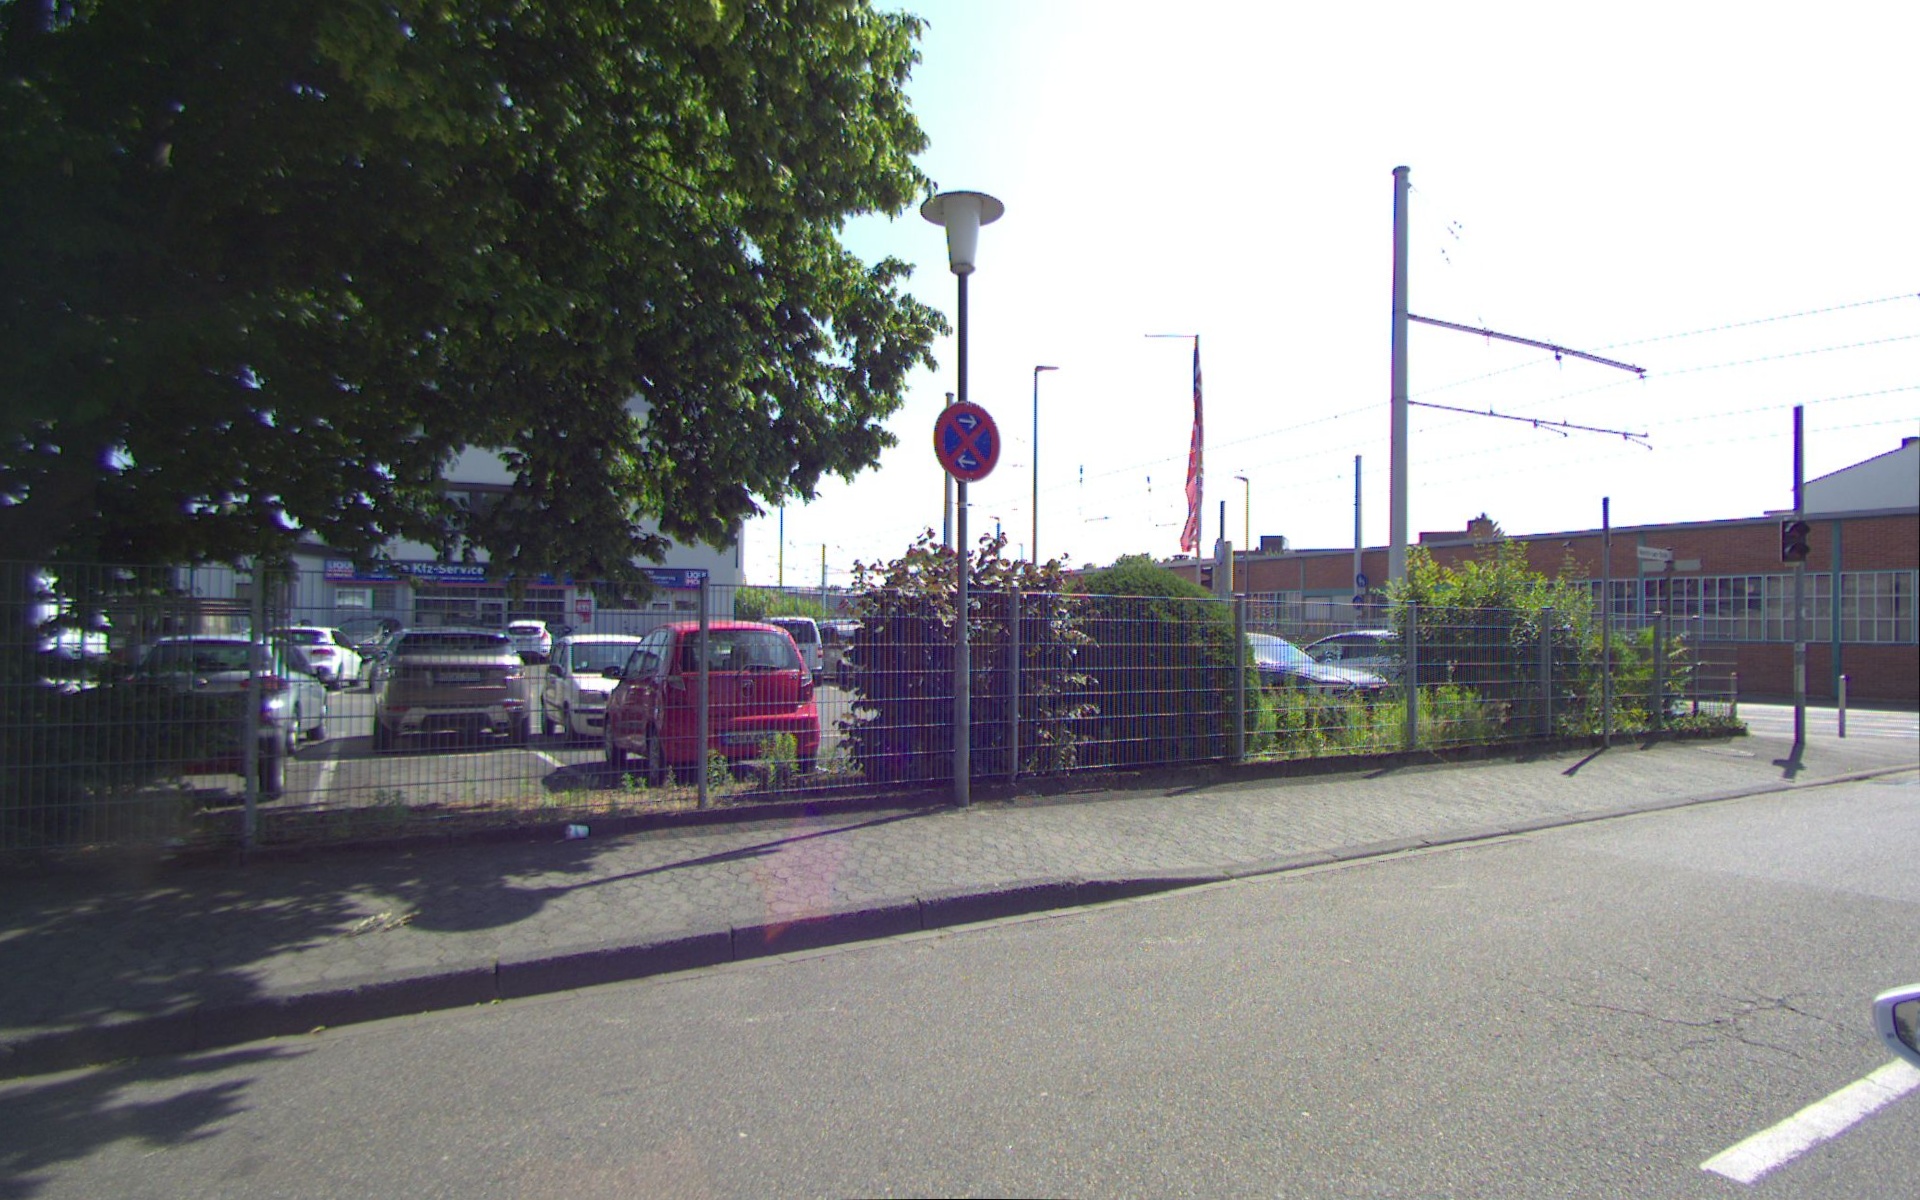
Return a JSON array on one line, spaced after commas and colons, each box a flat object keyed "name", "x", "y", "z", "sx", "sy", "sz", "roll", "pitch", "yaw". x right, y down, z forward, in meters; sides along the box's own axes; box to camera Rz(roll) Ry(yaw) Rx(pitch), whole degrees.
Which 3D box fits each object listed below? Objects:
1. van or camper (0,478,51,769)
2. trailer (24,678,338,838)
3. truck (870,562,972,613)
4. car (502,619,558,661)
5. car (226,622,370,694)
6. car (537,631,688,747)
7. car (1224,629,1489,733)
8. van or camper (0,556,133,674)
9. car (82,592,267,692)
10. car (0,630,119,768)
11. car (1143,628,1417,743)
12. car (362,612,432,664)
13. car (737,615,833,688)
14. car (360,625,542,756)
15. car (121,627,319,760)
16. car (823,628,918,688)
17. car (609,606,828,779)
[{"name": "van or camper", "x": -8.882, "y": 0.162, "z": 7.539, "sx": 1.823, "sy": 2.610, "sz": 4.638, "roll": 2, "pitch": -3, "yaw": -27}, {"name": "trailer", "x": -6.576, "y": 1.245, "z": 8.850, "sx": 1.592, "sy": 0.952, "sz": 3.270, "roll": 1, "pitch": -2, "yaw": -27}, {"name": "truck", "x": -3.001, "y": -0.943, "z": 78.896, "sx": 7.819, "sy": 3.832, "sz": 2.480, "roll": 1, "pitch": -2, "yaw": 0}, {"name": "car", "x": -15.593, "y": 1.446, "z": 36.540, "sx": 1.398, "sy": 1.445, "sz": 3.123, "roll": 1, "pitch": -2, "yaw": -15}, {"name": "car", "x": -15.929, "y": 1.361, "z": 24.433, "sx": 1.962, "sy": 1.578, "sz": 4.405, "roll": 1, "pitch": -2, "yaw": -21}, {"name": "car", "x": -5.148, "y": 1.221, "z": 14.679, "sx": 1.632, "sy": 1.492, "sz": 3.059, "roll": 2, "pitch": -3, "yaw": -27}, {"name": "car", "x": 6.507, "y": 1.255, "z": 16.875, "sx": 1.785, "sy": 1.532, "sz": 3.874, "roll": 1, "pitch": -2, "yaw": -31}, {"name": "van or camper", "x": -20.213, "y": 0.344, "z": 22.126, "sx": 1.756, "sy": 2.336, "sz": 4.577, "roll": 2, "pitch": -2, "yaw": -23}, {"name": "car", "x": -17.848, "y": 0.941, "z": 23.129, "sx": 2.027, "sy": 2.040, "sz": 4.559, "roll": 1, "pitch": -2, "yaw": -21}, {"name": "car", "x": -11.156, "y": 1.049, "z": 11.533, "sx": 1.712, "sy": 1.396, "sz": 3.606, "roll": 1, "pitch": -2, "yaw": -31}, {"name": "car", "x": 4.812, "y": 1.212, "z": 15.615, "sx": 1.785, "sy": 1.532, "sz": 3.874, "roll": 1, "pitch": -2, "yaw": -31}, {"name": "car", "x": -19.604, "y": 1.334, "z": 35.105, "sx": 1.975, "sy": 1.706, "sz": 3.972, "roll": 1, "pitch": -3, "yaw": -28}, {"name": "car", "x": -4.941, "y": 1.388, "z": 27.897, "sx": 1.899, "sy": 1.847, "sz": 4.021, "roll": 1, "pitch": -2, "yaw": -21}, {"name": "car", "x": -7.324, "y": 1.156, "z": 14.246, "sx": 1.954, "sy": 1.568, "sz": 3.966, "roll": 2, "pitch": -2, "yaw": -32}, {"name": "car", "x": -9.513, "y": 1.099, "z": 13.185, "sx": 1.666, "sy": 1.471, "sz": 3.755, "roll": 1, "pitch": -2, "yaw": -30}, {"name": "car", "x": -2.659, "y": 1.620, "z": 28.958, "sx": 1.828, "sy": 1.588, "sz": 3.918, "roll": 1, "pitch": -2, "yaw": -19}, {"name": "car", "x": -2.676, "y": 0.945, "z": 10.624, "sx": 1.498, "sy": 1.504, "sz": 3.367, "roll": 1, "pitch": -5, "yaw": -27}]
